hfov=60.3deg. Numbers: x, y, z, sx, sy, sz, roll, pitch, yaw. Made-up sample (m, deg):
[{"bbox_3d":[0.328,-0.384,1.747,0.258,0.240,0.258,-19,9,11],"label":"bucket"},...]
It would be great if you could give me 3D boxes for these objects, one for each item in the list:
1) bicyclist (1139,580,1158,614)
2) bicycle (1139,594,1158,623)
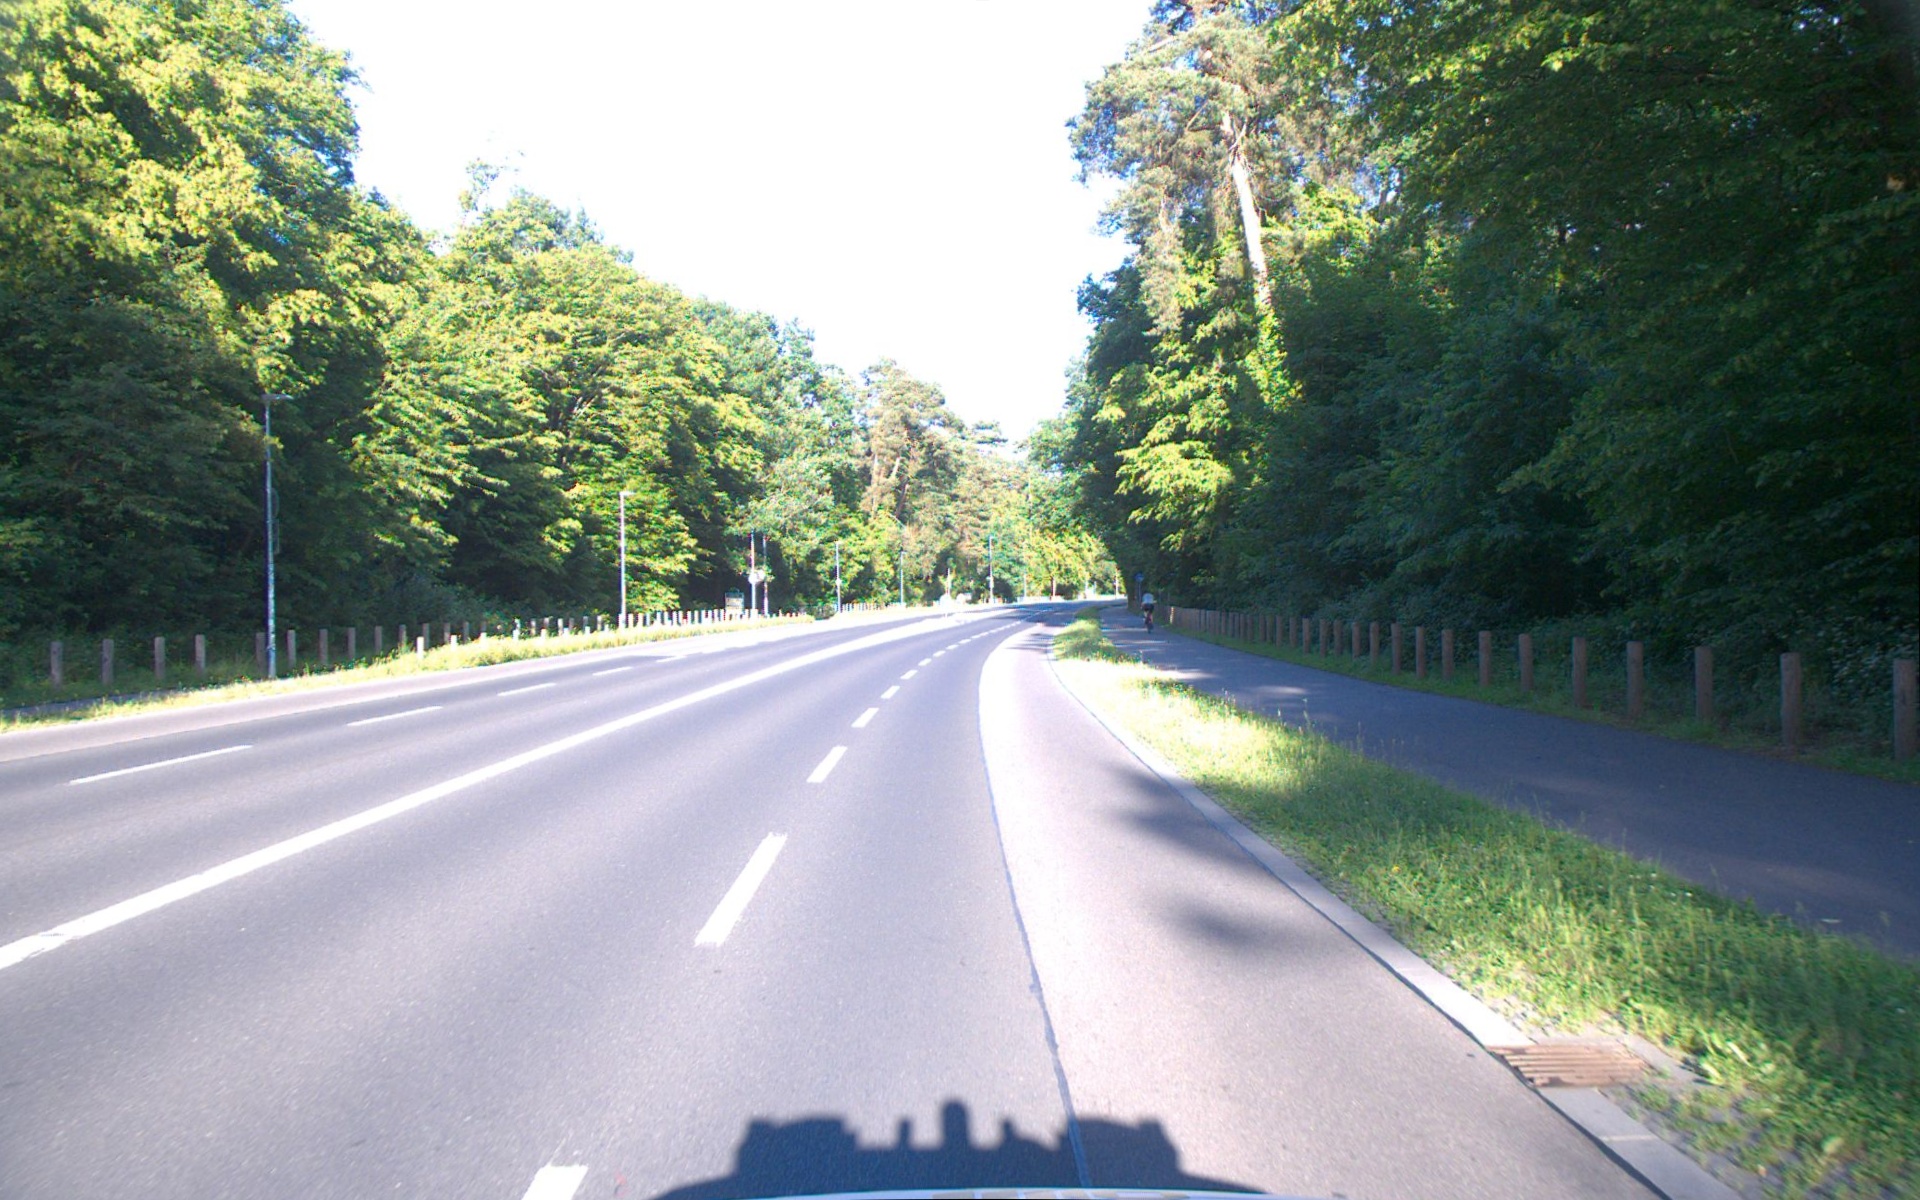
[{"bbox_3d":[7.376,-0.125,64.781,0.697,1.311,1.105,0,-1,5],"label":"bicyclist"},{"bbox_3d":[7.372,0.342,64.743,0.697,1.074,2.054,0,-1,5],"label":"bicycle"}]
